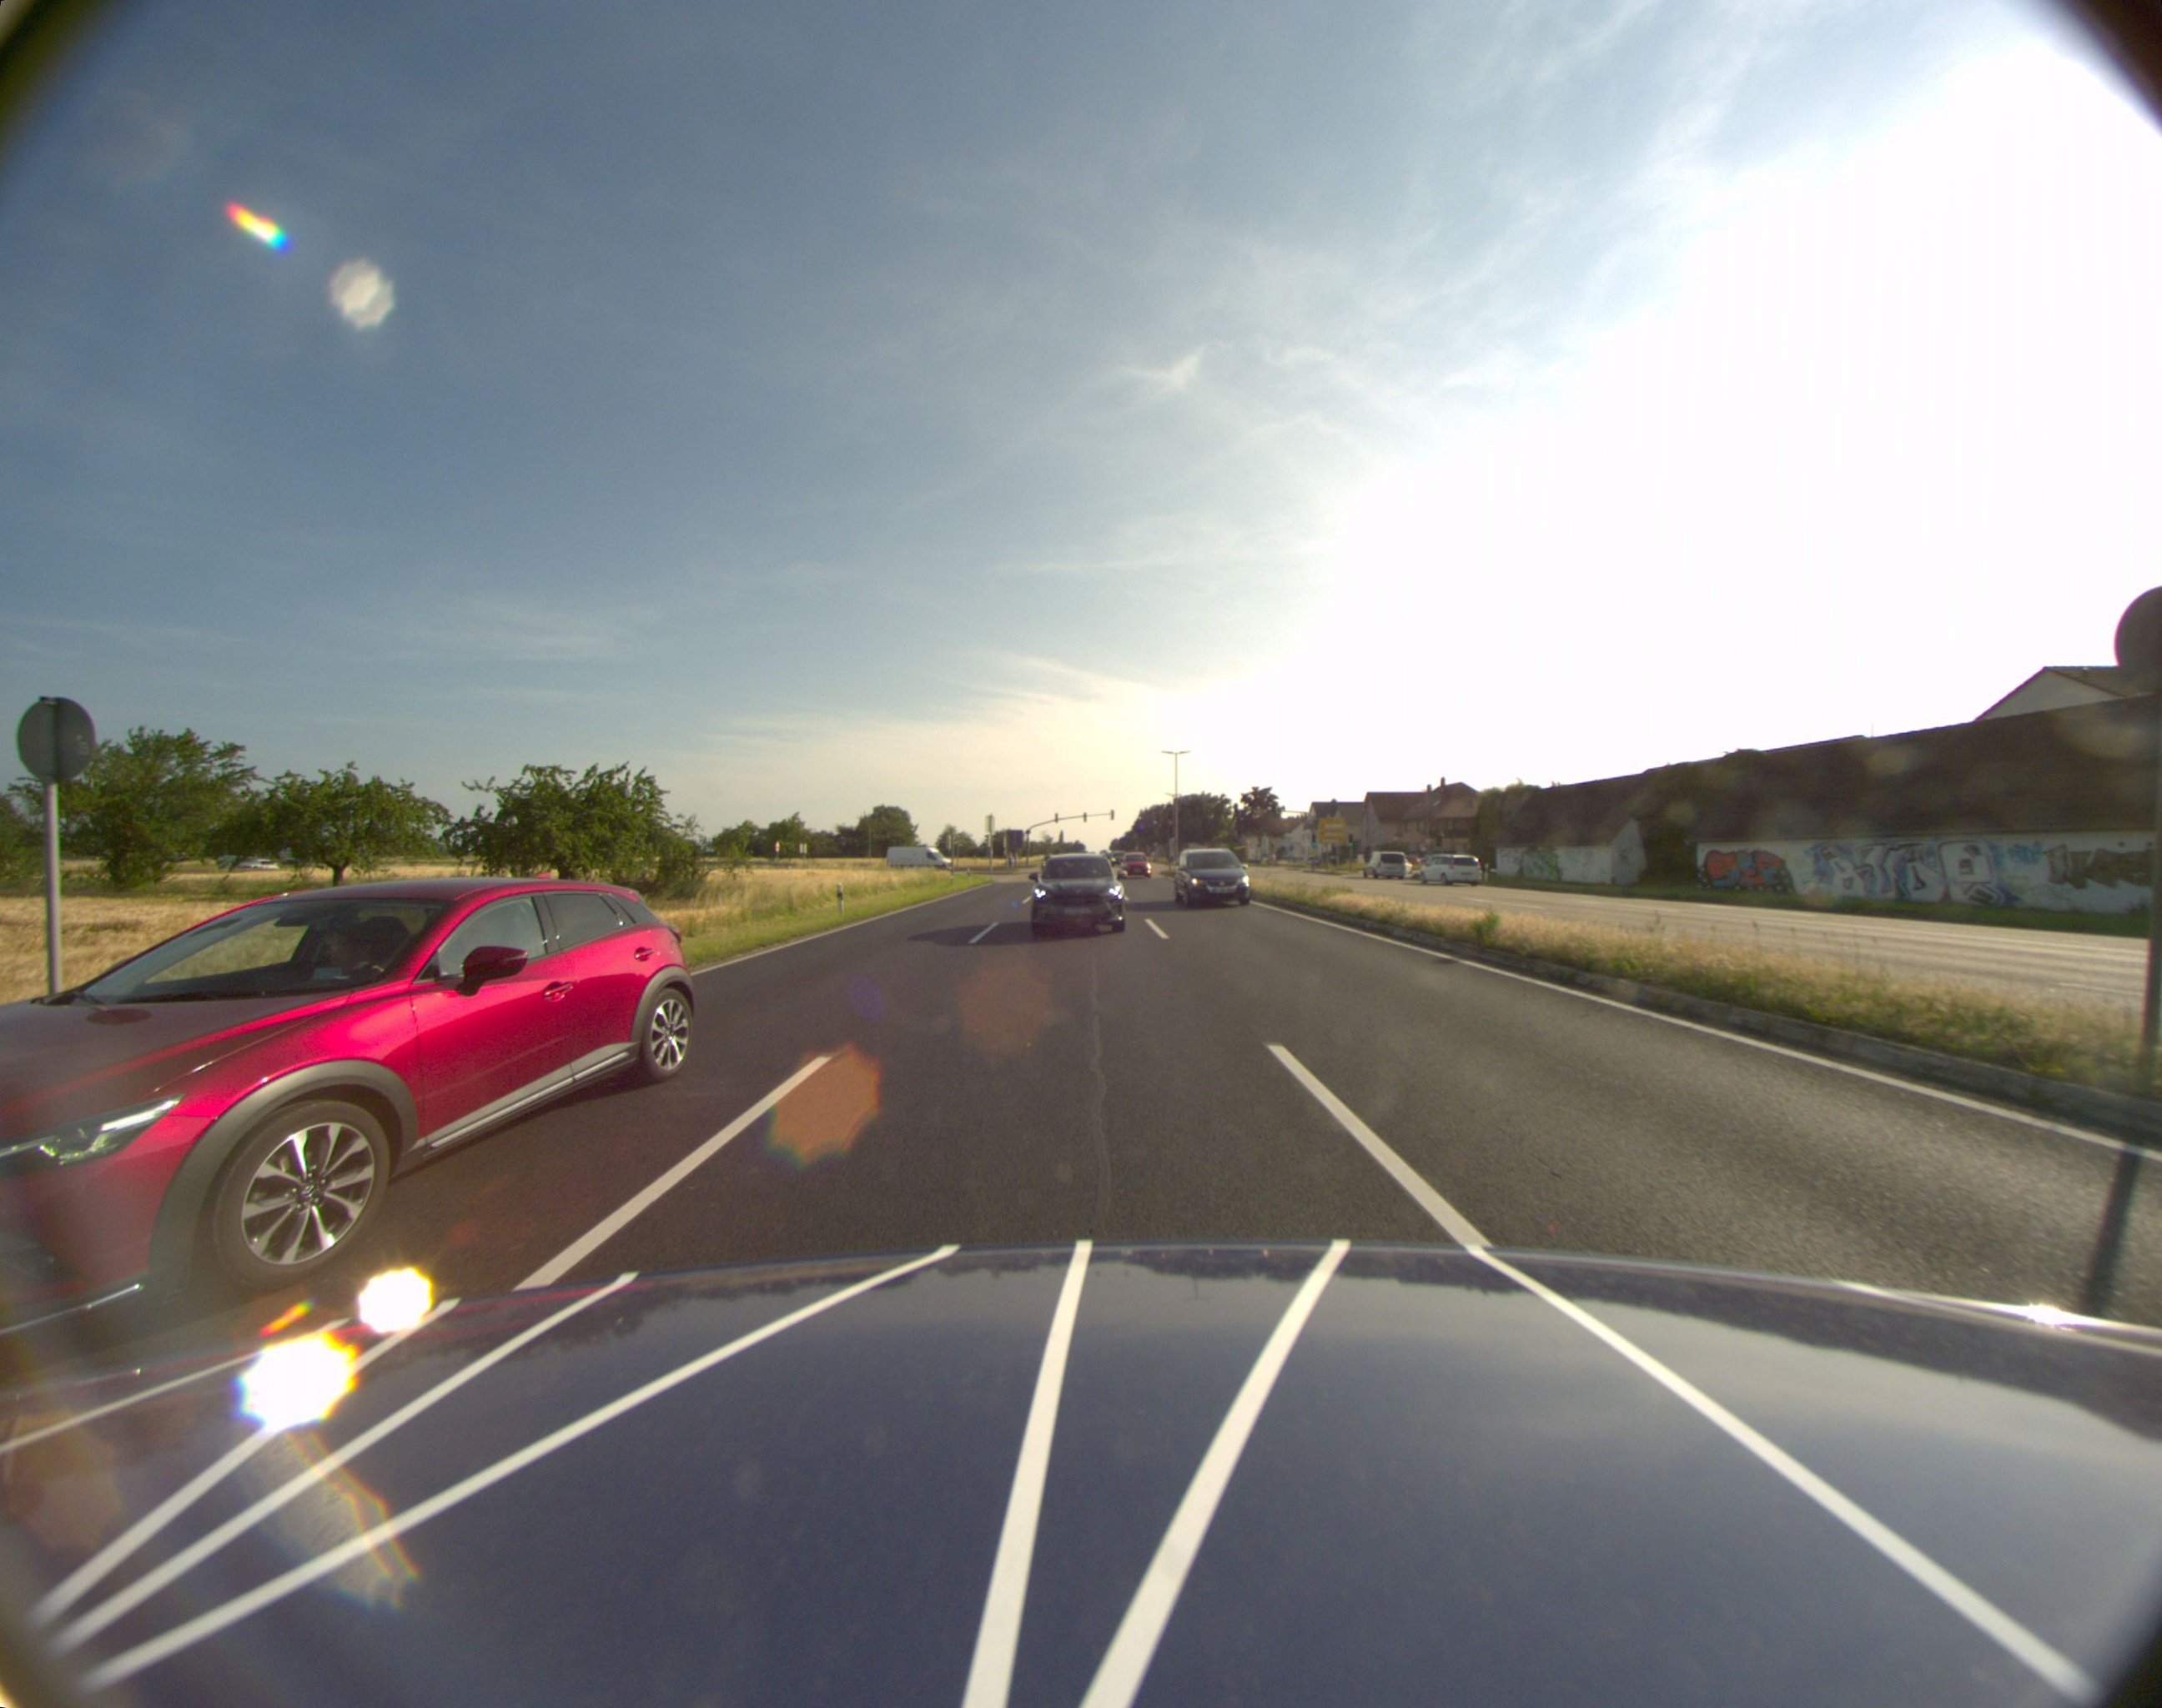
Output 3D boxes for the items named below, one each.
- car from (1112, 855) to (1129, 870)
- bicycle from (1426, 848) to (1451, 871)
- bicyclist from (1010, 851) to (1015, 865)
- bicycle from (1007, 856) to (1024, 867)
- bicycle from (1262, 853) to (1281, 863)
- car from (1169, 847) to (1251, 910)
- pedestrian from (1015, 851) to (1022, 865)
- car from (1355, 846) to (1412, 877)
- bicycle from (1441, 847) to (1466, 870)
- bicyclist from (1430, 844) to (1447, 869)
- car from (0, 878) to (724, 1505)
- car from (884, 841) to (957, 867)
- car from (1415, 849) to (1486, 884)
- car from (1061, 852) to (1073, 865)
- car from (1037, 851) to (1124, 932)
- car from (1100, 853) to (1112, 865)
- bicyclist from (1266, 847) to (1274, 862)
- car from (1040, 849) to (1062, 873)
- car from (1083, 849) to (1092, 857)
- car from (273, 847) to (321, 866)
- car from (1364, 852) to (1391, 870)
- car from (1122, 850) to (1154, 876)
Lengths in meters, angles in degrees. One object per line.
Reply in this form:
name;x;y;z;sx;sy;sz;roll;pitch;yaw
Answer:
car;4.444;0.921;86.345;1.719;1.521;3.999;-2;1;1
bicycle;28.426;0.454;60.447;0.755;1.739;2.607;-2;1;1
bicyclist;-8.318;0.504;92.317;0.560;1.603;0.504;-2;2;7
bicycle;-7.963;0.925;92.305;1.857;1.282;0.529;-2;2;3
bicycle;23.206;0.505;92.605;2.159;1.185;0.904;0;2;9
car;3.797;0.649;23.041;1.777;1.612;4.681;-1;1;1
pedestrian;-7.716;0.522;94.188;0.623;1.741;0.598;-2;2;11
car;21.015;0.455;53.055;1.911;1.917;5.453;2;1;3
bicycle;29.606;0.354;60.419;0.755;1.739;2.607;-2;1;1
bicyclist;28.458;0.190;60.519;0.772;2.002;1.062;-2;1;0
car;-3.796;1.011;3.913;1.708;1.497;4.500;-2;1;0
car;-16.736;0.012;79.361;7.202;2.654;2.094;0;2;14
car;20.371;0.635;42.131;1.840;1.697;4.758;2;1;4
car;-2.383;0.740;131.271;1.998;2.002;3.999;-2;1;0
car;0.038;0.798;18.352;1.791;1.594;4.339;-2;1;1
car;4.604;0.945;141.044;1.999;2.002;3.998;-2;1;-2
bicyclist;23.020;0.066;92.617;0.856;1.777;0.847;2;2;9
car;-2.802;0.626;71.210;1.999;2.002;3.998;-2;1;-2
car;1.632;-0.243;192.512;1.999;2.002;3.998;-2;1;-2
car;-84.892;0.268;82.276;3.992;1.937;1.849;-2;1;17
car;26.702;0.563;68.390;1.703;1.489;4.546;3;2;28
car;3.638;0.549;48.907;1.748;1.537;3.999;-2;1;1
